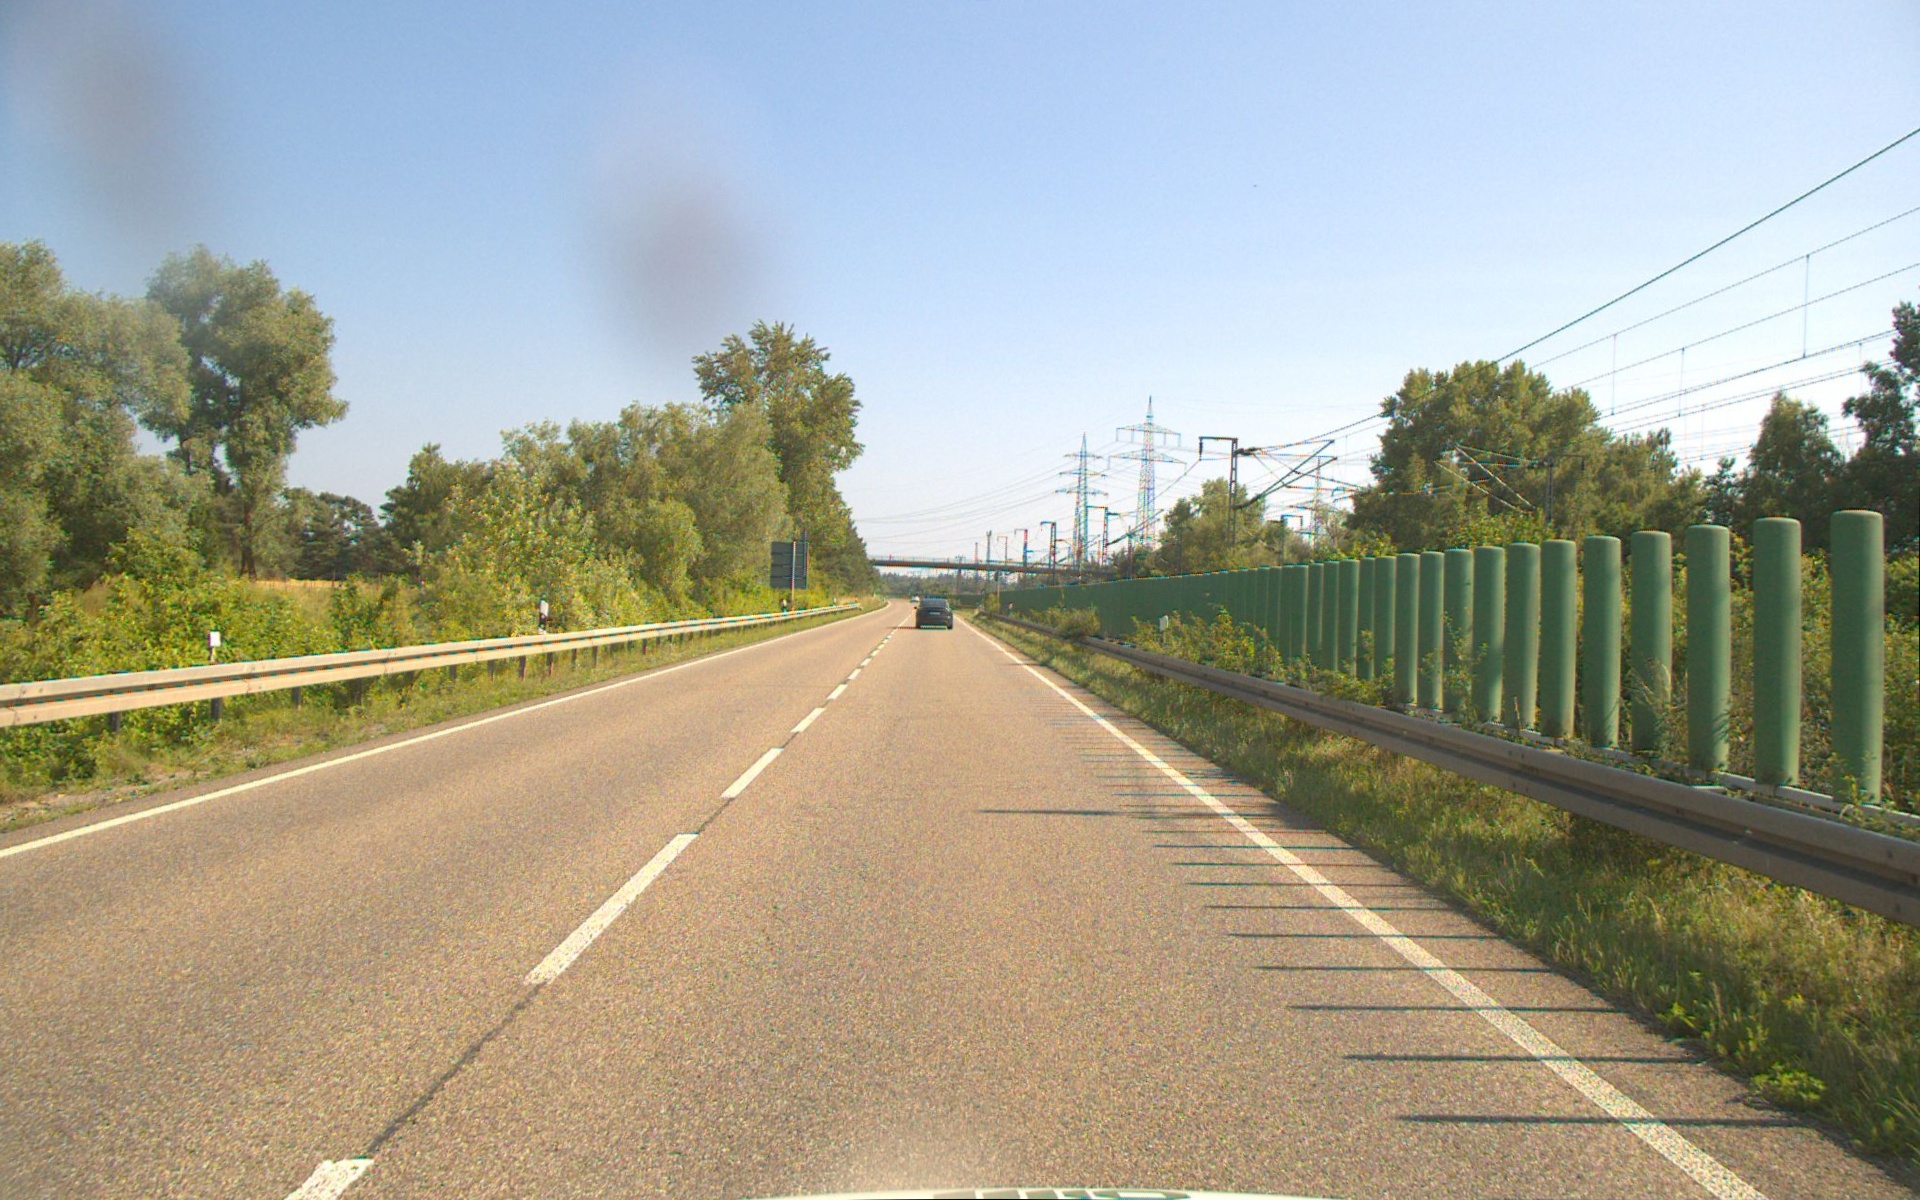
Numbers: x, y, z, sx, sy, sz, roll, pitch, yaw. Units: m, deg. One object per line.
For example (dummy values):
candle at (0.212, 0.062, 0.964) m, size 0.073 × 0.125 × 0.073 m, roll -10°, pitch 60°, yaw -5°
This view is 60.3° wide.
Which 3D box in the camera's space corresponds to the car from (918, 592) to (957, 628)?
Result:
car at (-1.122, 0.484, 80.777) m, size 1.821 × 1.670 × 3.999 m, roll 1°, pitch 0°, yaw -2°
